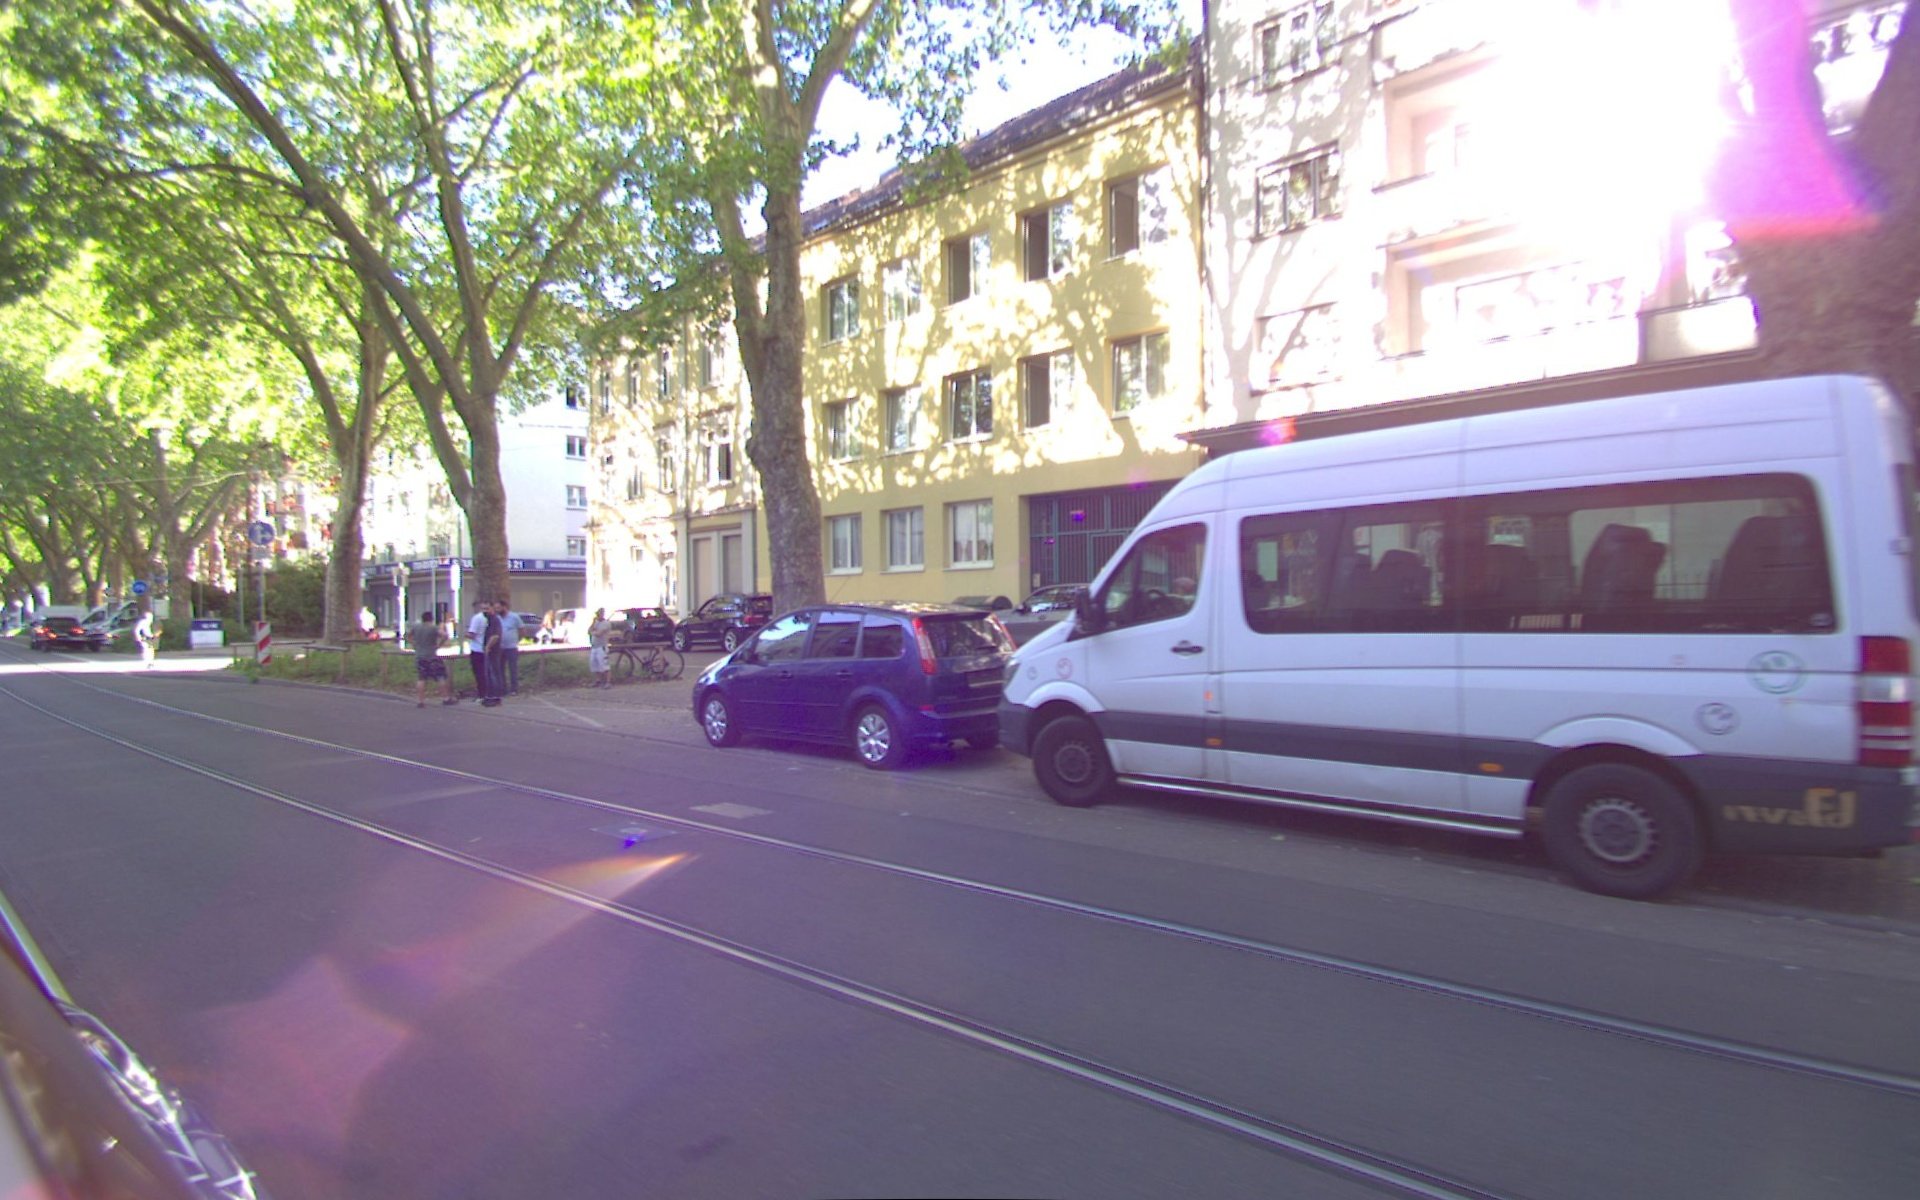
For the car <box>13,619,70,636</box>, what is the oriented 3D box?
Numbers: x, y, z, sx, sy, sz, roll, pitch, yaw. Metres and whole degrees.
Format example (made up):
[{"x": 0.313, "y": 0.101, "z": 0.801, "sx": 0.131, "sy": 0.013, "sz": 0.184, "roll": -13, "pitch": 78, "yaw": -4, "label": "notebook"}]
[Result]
[{"x": -88.925, "y": 2.644, "z": 98.012, "sx": 1.999, "sy": 1.478, "sz": 3.945, "roll": -1, "pitch": 1, "yaw": 42, "label": "car"}]

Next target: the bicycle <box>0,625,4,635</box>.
[{"x": -84.134, "y": 2.626, "z": 88.663, "sx": 1.557, "sy": 0.913, "sz": 0.526, "roll": -1, "pitch": 1, "yaw": 44, "label": "bicycle"}]

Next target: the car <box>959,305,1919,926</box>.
[{"x": 2.857, "y": 0.068, "z": 6.915, "sx": 2.083, "sy": 2.596, "sz": 6.028, "roll": -2, "pitch": 1, "yaw": -44, "label": "car"}]

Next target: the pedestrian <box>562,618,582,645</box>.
[{"x": -15.955, "y": 1.292, "z": 41.639, "sx": 0.540, "sy": 1.048, "sz": 0.541, "roll": -1, "pitch": 0, "yaw": 10, "label": "pedestrian"}]

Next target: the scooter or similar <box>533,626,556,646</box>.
[{"x": -16.847, "y": 1.461, "z": 41.056, "sx": 0.896, "sy": 0.759, "sz": 0.522, "roll": -1, "pitch": 1, "yaw": 42, "label": "scooter or similar"}]

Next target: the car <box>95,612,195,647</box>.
[{"x": -43.940, "y": 1.553, "z": 54.613, "sx": 1.999, "sy": 1.657, "sz": 3.945, "roll": -1, "pitch": 1, "yaw": 42, "label": "car"}]

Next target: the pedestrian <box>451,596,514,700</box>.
[{"x": -8.333, "y": 0.822, "z": 17.692, "sx": 0.759, "sy": 1.748, "sz": 0.715, "roll": -1, "pitch": 0, "yaw": -5, "label": "pedestrian"}]

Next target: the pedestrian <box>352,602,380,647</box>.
[{"x": -23.969, "y": 0.968, "z": 40.855, "sx": 0.667, "sy": 1.793, "sz": 0.716, "roll": 0, "pitch": 1, "yaw": 30, "label": "pedestrian"}]

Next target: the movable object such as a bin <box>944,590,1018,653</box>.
[{"x": 0.520, "y": 0.520, "z": 25.236, "sx": 1.343, "sy": 1.513, "sz": 1.217, "roll": -1, "pitch": 1, "yaw": 42, "label": "movable object such as a bin"}]

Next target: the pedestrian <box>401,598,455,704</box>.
[{"x": -9.078, "y": 0.844, "z": 17.255, "sx": 0.702, "sy": 1.748, "sz": 0.773, "roll": -1, "pitch": 0, "yaw": -33, "label": "pedestrian"}]

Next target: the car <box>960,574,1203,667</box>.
[{"x": 2.444, "y": 0.383, "z": 21.390, "sx": 4.899, "sy": 1.746, "sz": 1.971, "roll": -1, "pitch": 1, "yaw": 44, "label": "car"}]

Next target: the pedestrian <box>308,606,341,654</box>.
[{"x": -24.334, "y": 1.147, "z": 38.747, "sx": 0.726, "sy": 1.770, "sz": 0.739, "roll": -1, "pitch": 0, "yaw": 5, "label": "pedestrian"}]

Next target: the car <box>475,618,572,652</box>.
[{"x": -21.987, "y": 1.709, "z": 51.077, "sx": 1.835, "sy": 1.489, "sz": 4.097, "roll": -1, "pitch": 1, "yaw": 43, "label": "car"}]

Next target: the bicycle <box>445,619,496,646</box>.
[{"x": -20.800, "y": 1.364, "z": 43.037, "sx": 0.655, "sy": 1.070, "sz": 1.845, "roll": -1, "pitch": 1, "yaw": 35, "label": "bicycle"}]

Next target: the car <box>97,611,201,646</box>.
[{"x": -42.154, "y": 1.430, "z": 52.683, "sx": 1.908, "sy": 1.622, "sz": 3.945, "roll": -1, "pitch": 1, "yaw": 41, "label": "car"}]

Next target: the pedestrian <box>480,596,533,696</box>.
[{"x": -8.258, "y": 0.813, "z": 18.403, "sx": 0.758, "sy": 1.748, "sz": 0.719, "roll": -1, "pitch": 0, "yaw": -31, "label": "pedestrian"}]

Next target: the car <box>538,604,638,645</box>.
[{"x": -17.283, "y": 1.125, "z": 47.147, "sx": 1.800, "sy": 1.650, "sz": 3.958, "roll": -6, "pitch": -3, "yaw": 42, "label": "car"}]

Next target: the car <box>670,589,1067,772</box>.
[{"x": -1.140, "y": 0.713, "z": 10.986, "sx": 4.284, "sy": 1.573, "sz": 1.896, "roll": -1, "pitch": 1, "yaw": 43, "label": "car"}]

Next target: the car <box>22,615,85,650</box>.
[{"x": -45.943, "y": 1.610, "z": 51.262, "sx": 4.181, "sy": 1.696, "sz": 1.902, "roll": -1, "pitch": -2, "yaw": 42, "label": "car"}]

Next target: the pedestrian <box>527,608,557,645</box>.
[{"x": -17.317, "y": 1.075, "z": 41.932, "sx": 1.069, "sy": 1.490, "sz": 0.764, "roll": -1, "pitch": 1, "yaw": 42, "label": "pedestrian"}]

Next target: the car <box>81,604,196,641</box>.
[{"x": -49.459, "y": 1.328, "z": 61.058, "sx": 1.998, "sy": 2.010, "sz": 5.070, "roll": -1, "pitch": 1, "yaw": 38, "label": "car"}]

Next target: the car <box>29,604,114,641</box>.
[{"x": -67.057, "y": 1.673, "z": 76.420, "sx": 2.000, "sy": 2.552, "sz": 4.598, "roll": -1, "pitch": 1, "yaw": 43, "label": "car"}]

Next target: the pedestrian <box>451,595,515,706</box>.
[{"x": -7.980, "y": 0.823, "z": 16.923, "sx": 0.771, "sy": 1.790, "sz": 0.704, "roll": -1, "pitch": 1, "yaw": 43, "label": "pedestrian"}]

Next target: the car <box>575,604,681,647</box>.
[{"x": -11.753, "y": 0.885, "z": 35.773, "sx": 3.998, "sy": 1.398, "sz": 1.761, "roll": -1, "pitch": 1, "yaw": 41, "label": "car"}]

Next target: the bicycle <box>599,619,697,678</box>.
[{"x": -6.231, "y": 0.955, "z": 20.207, "sx": 1.820, "sy": 1.088, "sz": 0.571, "roll": -1, "pitch": 0, "yaw": -19, "label": "bicycle"}]

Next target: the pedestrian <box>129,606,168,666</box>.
[{"x": -25.331, "y": 1.116, "z": 31.581, "sx": 0.799, "sy": 1.805, "sz": 0.693, "roll": -1, "pitch": 0, "yaw": 31, "label": "pedestrian"}]

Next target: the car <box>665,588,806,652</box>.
[{"x": -6.879, "y": 0.575, "z": 30.666, "sx": 1.971, "sy": 1.749, "sz": 4.699, "roll": -2, "pitch": 1, "yaw": -45, "label": "car"}]

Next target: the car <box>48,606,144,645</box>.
[{"x": -56.431, "y": 1.650, "z": 66.151, "sx": 2.000, "sy": 2.323, "sz": 4.598, "roll": -1, "pitch": 1, "yaw": 43, "label": "car"}]

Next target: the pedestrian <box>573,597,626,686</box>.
[{"x": -6.811, "y": 0.772, "z": 19.165, "sx": 0.759, "sy": 1.622, "sz": 0.715, "roll": -1, "pitch": 0, "yaw": -5, "label": "pedestrian"}]

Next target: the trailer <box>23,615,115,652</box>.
[{"x": -41.895, "y": 1.535, "z": 47.505, "sx": 6.582, "sy": 1.644, "sz": 2.420, "roll": -1, "pitch": -2, "yaw": 42, "label": "trailer"}]

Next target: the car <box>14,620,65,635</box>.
[{"x": -101.307, "y": 3.020, "z": 111.386, "sx": 1.999, "sy": 1.478, "sz": 3.945, "roll": -1, "pitch": 1, "yaw": 42, "label": "car"}]

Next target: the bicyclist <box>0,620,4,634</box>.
[{"x": -84.138, "y": 2.356, "z": 88.663, "sx": 0.666, "sy": 1.222, "sz": 0.526, "roll": -1, "pitch": 1, "yaw": 44, "label": "bicyclist"}]
